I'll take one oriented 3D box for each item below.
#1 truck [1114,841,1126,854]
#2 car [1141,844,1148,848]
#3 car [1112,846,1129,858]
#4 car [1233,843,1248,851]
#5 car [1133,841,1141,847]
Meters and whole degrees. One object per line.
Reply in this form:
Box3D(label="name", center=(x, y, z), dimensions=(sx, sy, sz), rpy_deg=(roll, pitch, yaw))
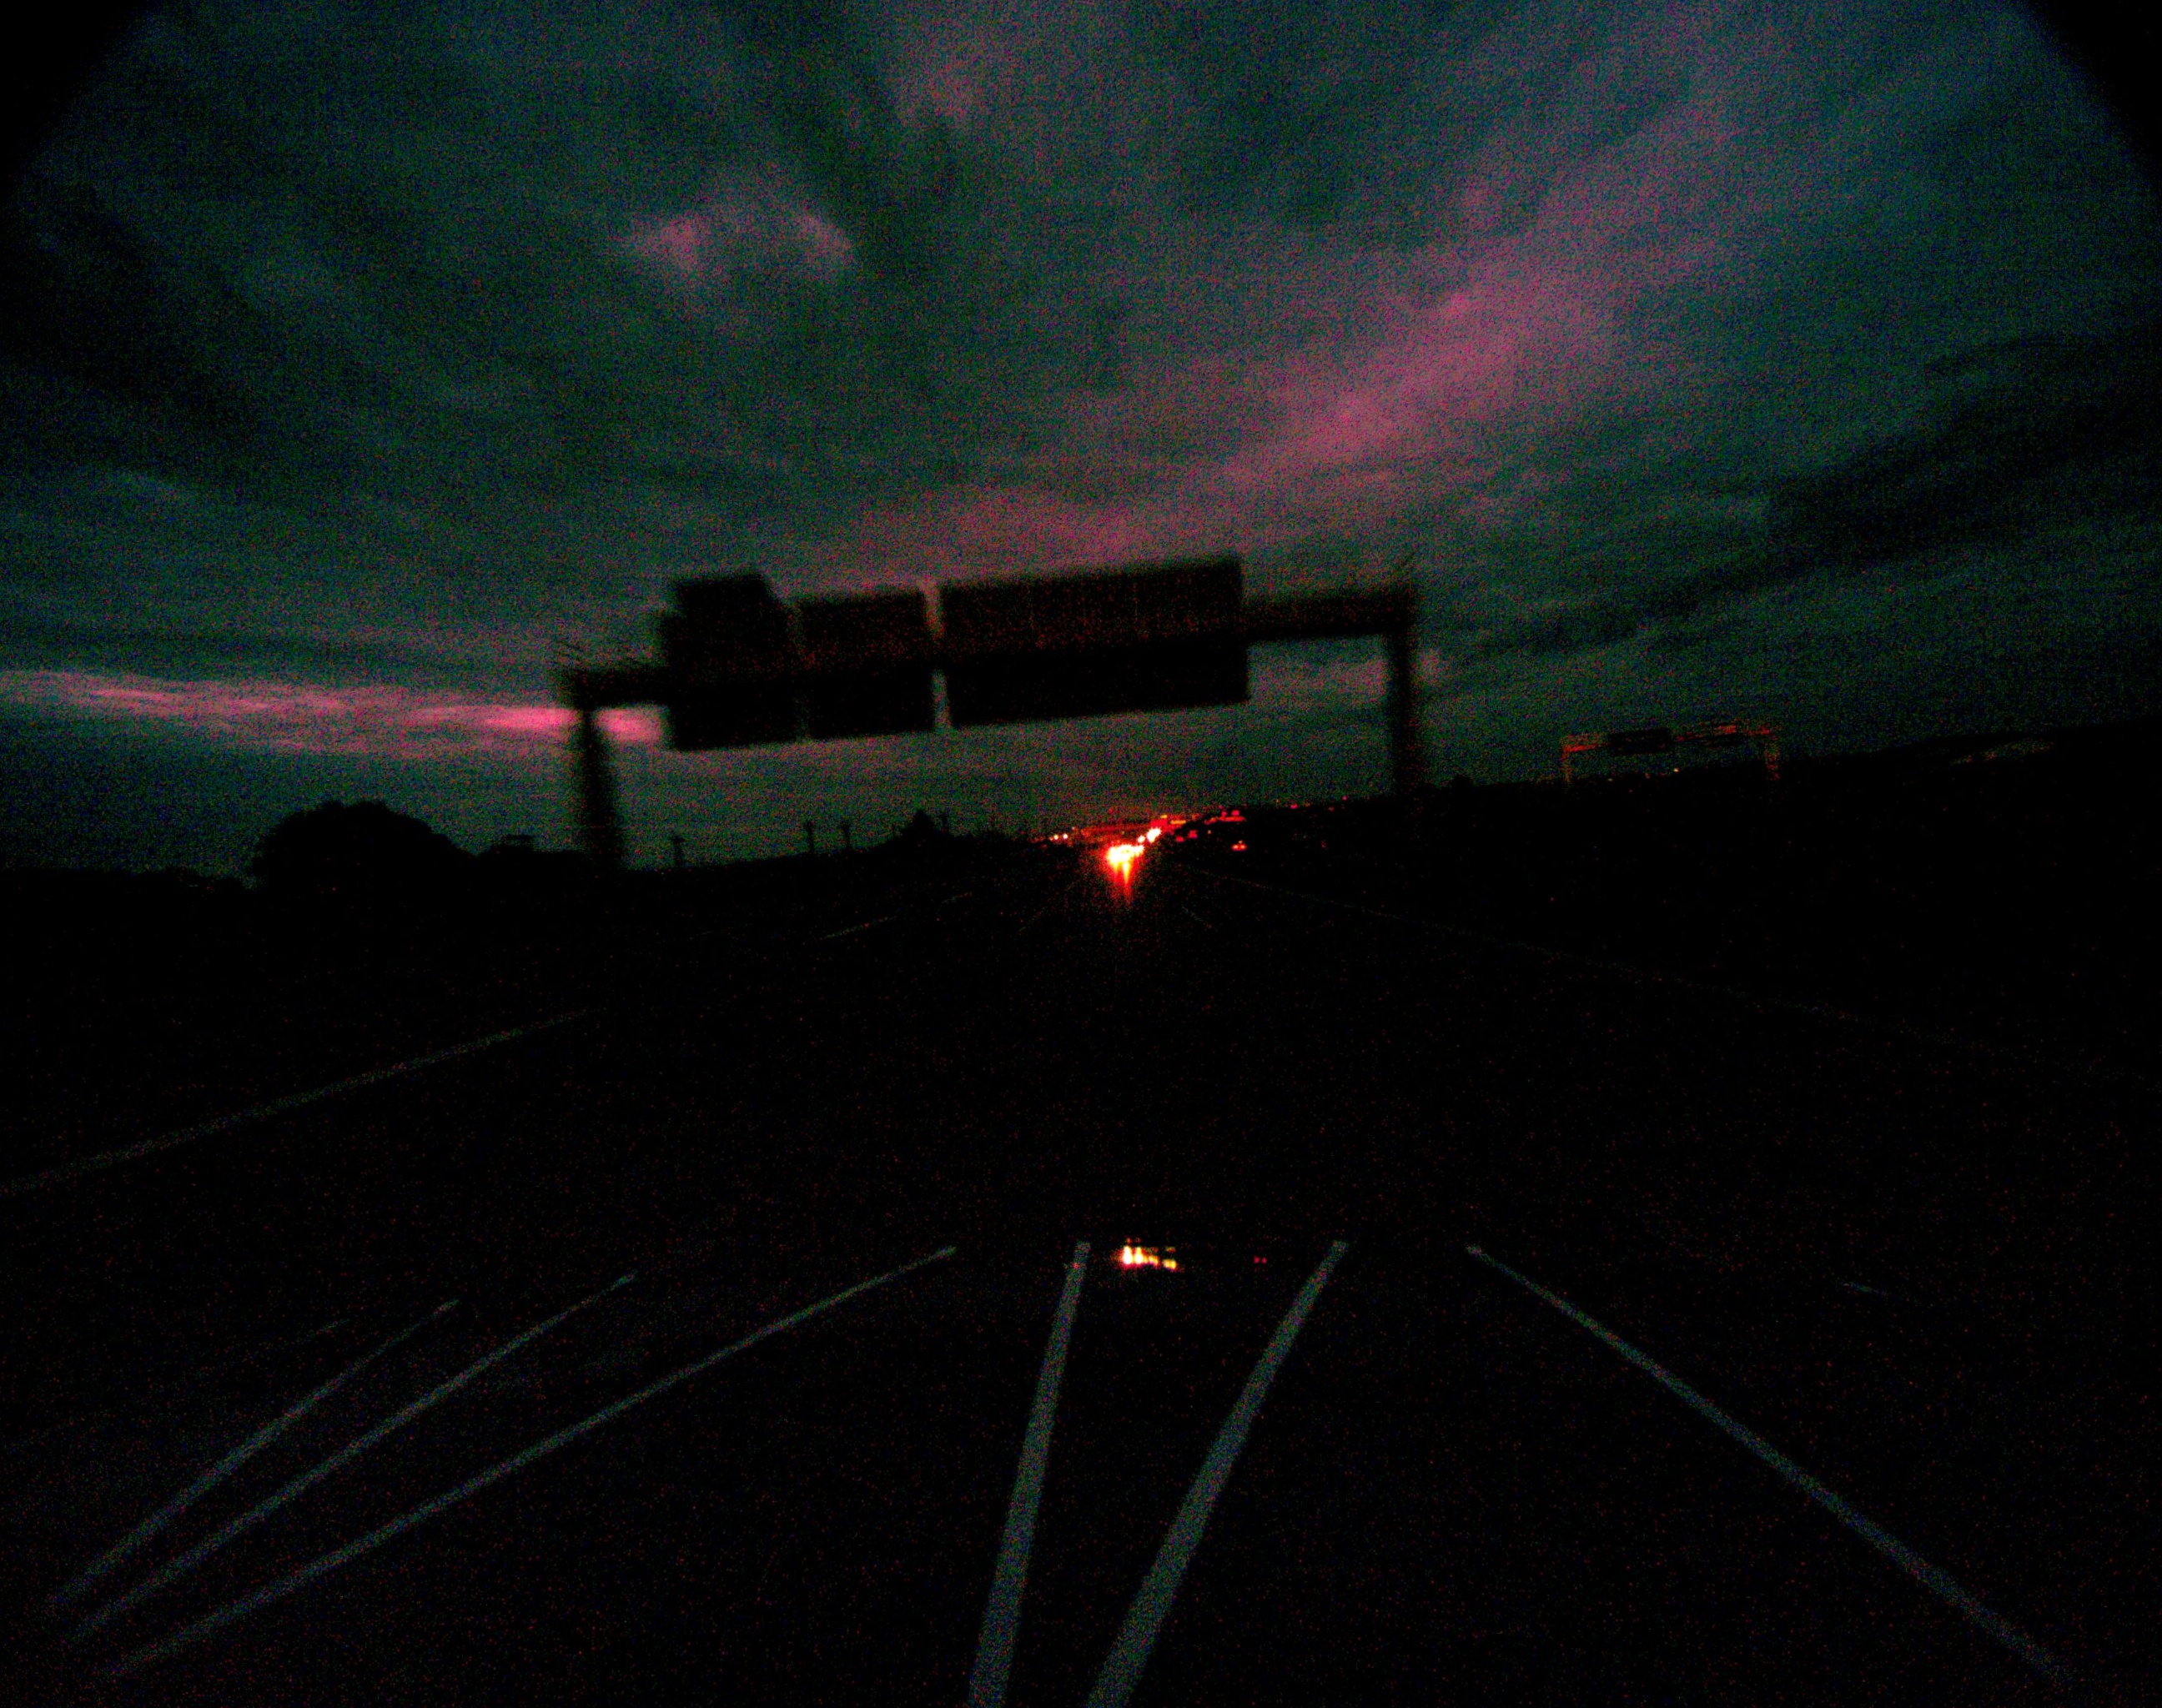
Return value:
Box3D(label="truck", center=(12.837, -2.063, 250.021), dimensions=(3.059, 4.047, 10.524), rpy_deg=(-3, 0, 6))
Box3D(label="car", center=(20.136, -2.485, 241.594), dimensions=(1.997, 1.342, 4.177), rpy_deg=(-3, 0, 7))
Box3D(label="car", center=(4.958, -0.277, 95.825), dimensions=(1.998, 1.342, 4.175), rpy_deg=(-1, 2, 4))
Box3D(label="car", center=(29.966, -1.275, 142.539), dimensions=(1.998, 1.396, 4.329), rpy_deg=(-3, 1, 2))
Box3D(label="car", center=(14.742, -2.517, 198.937), dimensions=(1.998, 1.342, 4.175), rpy_deg=(-5, 2, 5))
